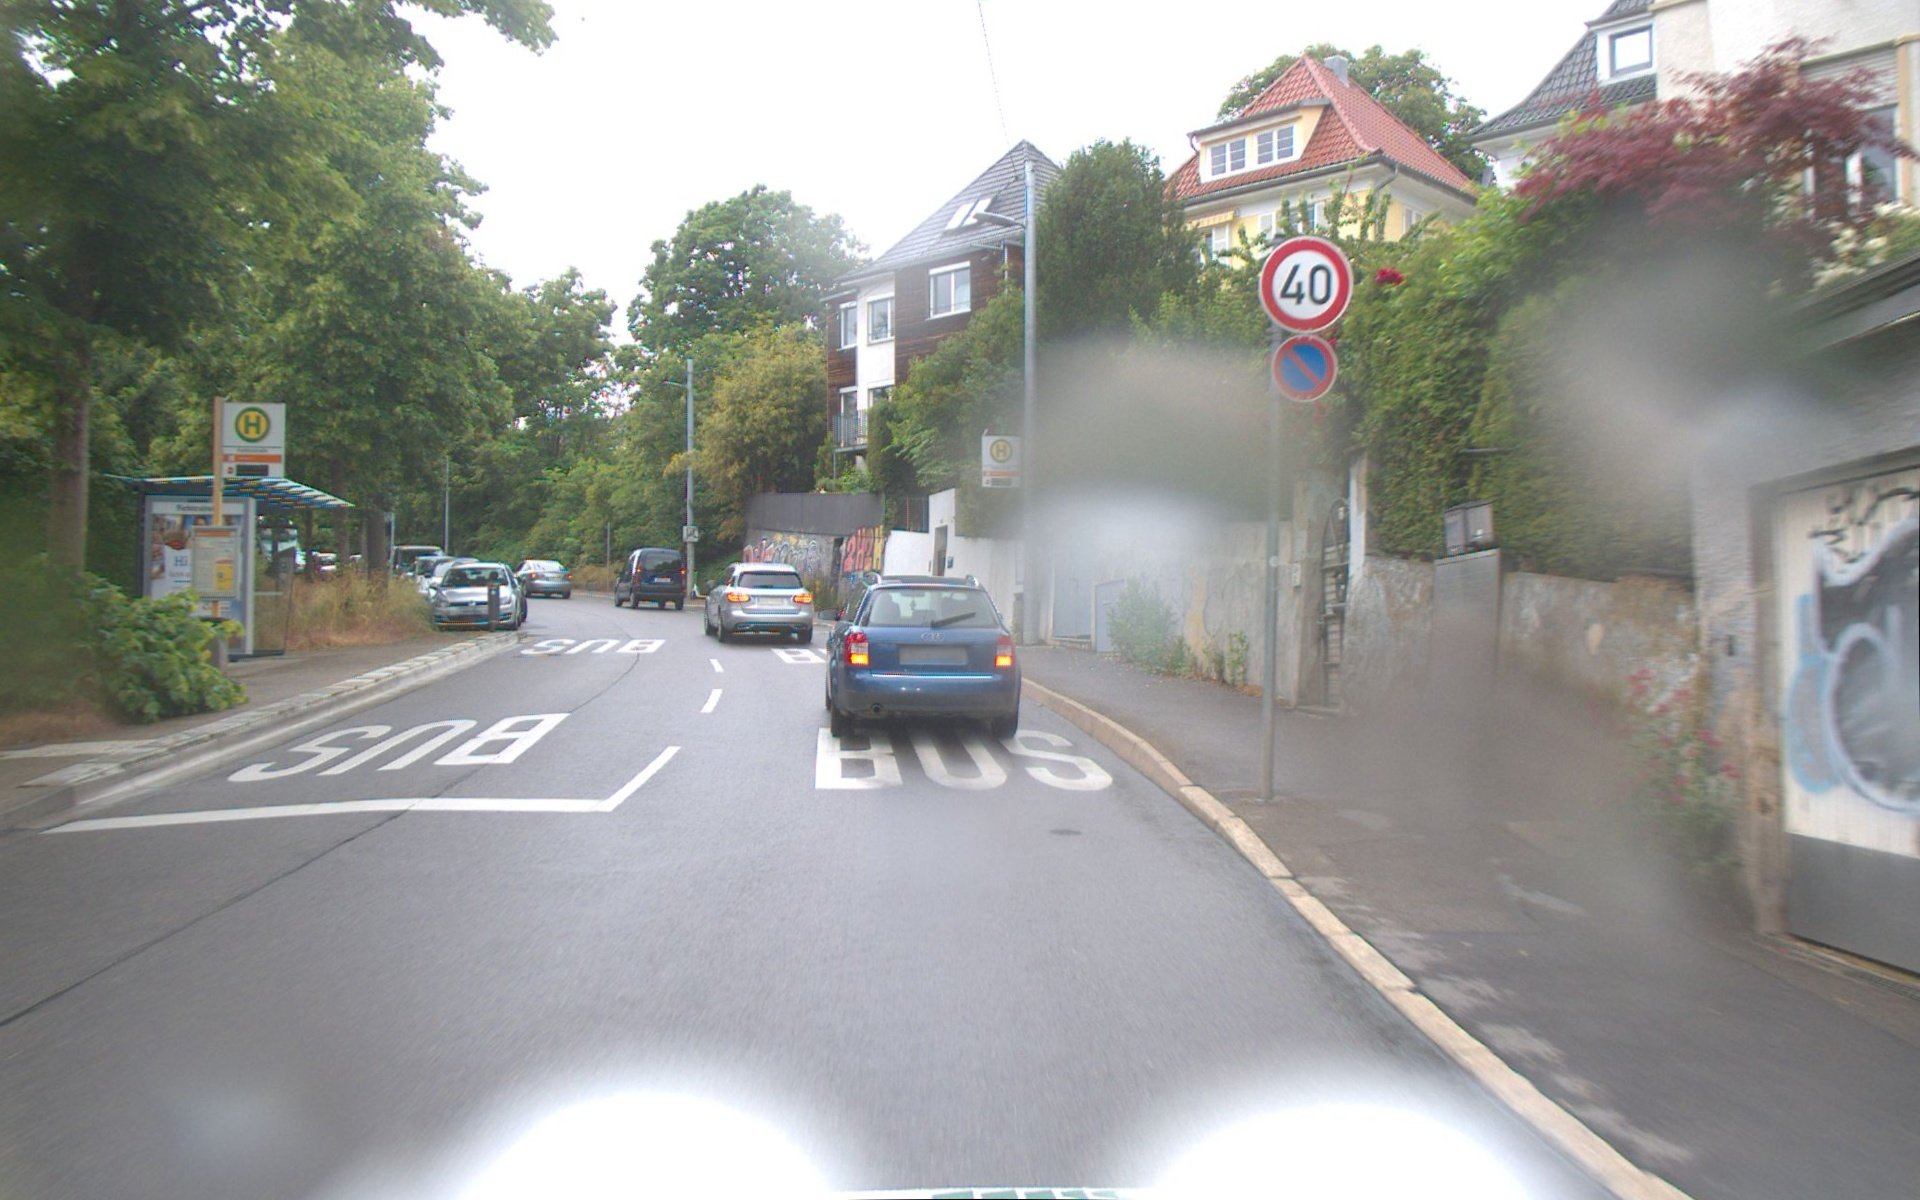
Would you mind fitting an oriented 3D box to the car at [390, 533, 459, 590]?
[{"bbox_3d":[-18.591,-1.349,57.334,1.813,1.875,3.872,-2,2,-25],"label":"car"}]

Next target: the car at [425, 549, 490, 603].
[{"bbox_3d":[-14.462,-0.730,47.493,1.648,1.451,3.980,-2,2,-18],"label":"car"}]

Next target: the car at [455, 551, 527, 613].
[{"bbox_3d":[-11.831,-0.488,41.658,1.647,1.451,3.982,-2,2,-17],"label":"car"}]

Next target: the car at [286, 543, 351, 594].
[{"bbox_3d":[-27.188,-1.360,70.064,1.973,2.048,3.960,-2,2,-30],"label":"car"}]

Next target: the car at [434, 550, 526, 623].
[{"bbox_3d":[-10.442,-0.340,36.197,1.645,1.451,3.988,-2,2,-13],"label":"car"}]

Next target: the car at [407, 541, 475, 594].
[{"bbox_3d":[-16.563,-1.060,52.658,1.651,1.578,3.874,-2,2,-23],"label":"car"}]

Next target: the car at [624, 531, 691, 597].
[{"bbox_3d":[-9.504,-1.149,51.754,1.702,1.927,4.039,-2,2,-15],"label":"car"}]

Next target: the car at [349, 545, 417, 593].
[{"bbox_3d":[-22.761,-1.240,65.122,1.970,1.757,3.965,-3,2,-27],"label":"car"}]

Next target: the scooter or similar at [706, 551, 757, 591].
[{"bbox_3d":[-8.625,-1.078,62.454,1.802,1.338,0.598,5,-2,-13],"label":"scooter or similar"}]

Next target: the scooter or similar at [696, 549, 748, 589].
[{"bbox_3d":[-8.860,-1.146,61.615,1.802,1.338,0.598,5,-2,-13],"label":"scooter or similar"}]

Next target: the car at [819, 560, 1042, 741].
[{"bbox_3d":[-0.412,0.387,15.980,1.743,1.464,3.995,1,2,-7],"label":"car"}]

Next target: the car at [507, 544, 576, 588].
[{"bbox_3d":[-16.255,-1.327,64.141,1.745,1.597,3.996,-2,2,-26],"label":"car"}]

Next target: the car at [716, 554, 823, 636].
[{"bbox_3d":[-3.736,-0.125,32.121,1.873,1.412,4.343,2,1,-8],"label":"car"}]
